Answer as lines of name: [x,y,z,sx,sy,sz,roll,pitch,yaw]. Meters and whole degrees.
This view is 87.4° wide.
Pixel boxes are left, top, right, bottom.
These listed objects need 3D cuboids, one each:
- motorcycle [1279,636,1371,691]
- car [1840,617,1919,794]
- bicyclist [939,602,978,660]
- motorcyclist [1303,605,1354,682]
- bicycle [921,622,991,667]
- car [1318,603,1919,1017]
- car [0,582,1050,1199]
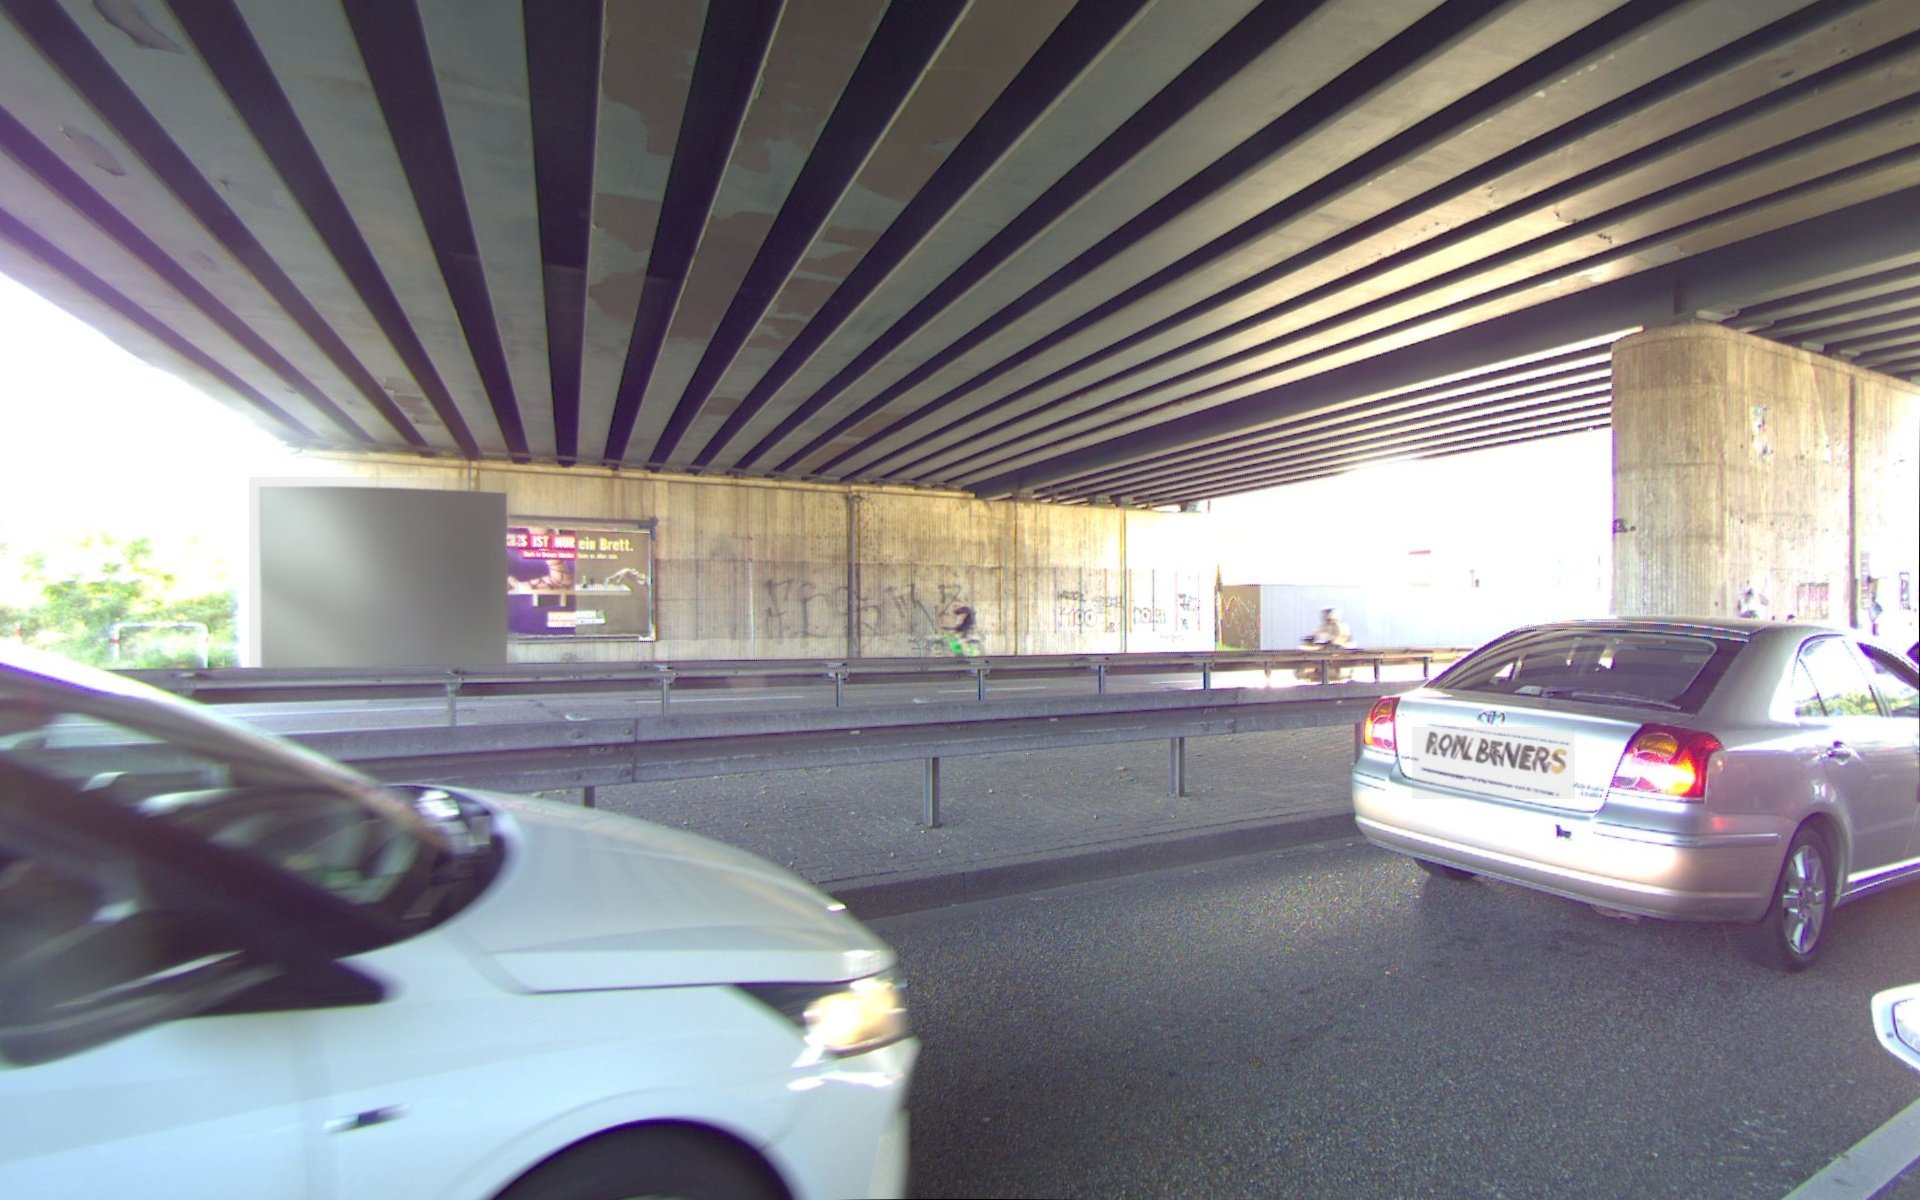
motorcycle: [7.558,1.298,20.788,1.985,1.041,0.689,0,0,-30]
car: [9.627,0.905,8.884,3.769,1.429,1.684,1,0,-31]
bicyclist: [-0.041,0.854,27.697,0.827,1.545,0.624,2,0,-30]
motorcyclist: [7.635,0.882,20.829,0.690,1.548,0.693,0,0,-30]
bicycle: [-0.102,1.221,27.669,1.856,1.181,0.631,2,0,-30]
car: [4.106,0.797,5.472,4.347,1.474,1.688,1,0,-31]
car: [-1.891,0.684,1.685,3.828,1.423,1.723,1,0,-32]
